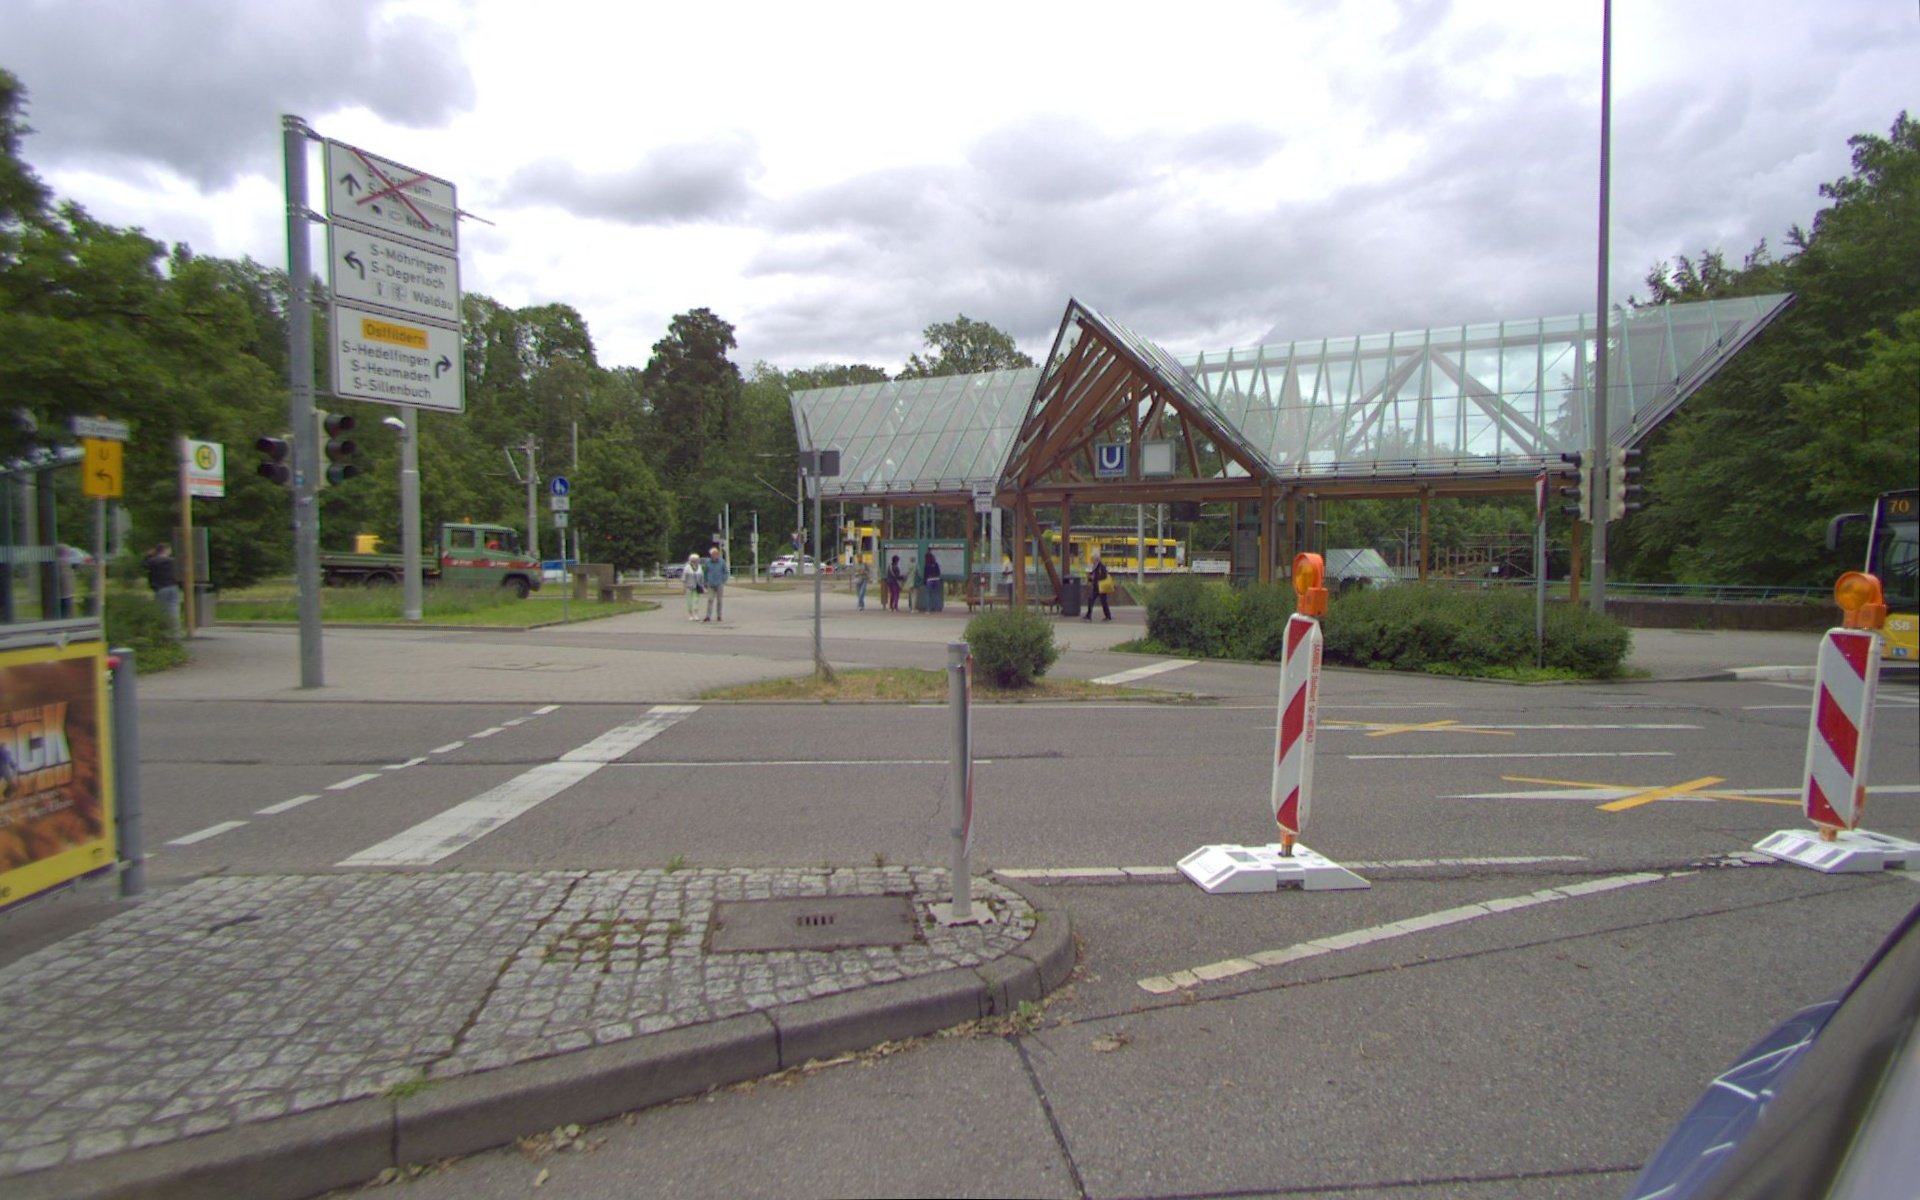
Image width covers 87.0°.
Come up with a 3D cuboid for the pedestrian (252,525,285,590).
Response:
[{"bbox_3d":[-33.382,-2.059,48.889,1.090,3.082,1.029,-1,1,-22],"label":"pedestrian"}]

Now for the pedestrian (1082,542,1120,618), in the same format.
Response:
[{"bbox_3d":[3.389,-0.488,24.314,0.666,1.779,0.646,0,1,43],"label":"pedestrian"}]

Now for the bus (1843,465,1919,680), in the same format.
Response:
[{"bbox_3d":[19.445,-0.382,15.776,10.299,3.198,2.818,0,2,-12],"label":"bus"}]

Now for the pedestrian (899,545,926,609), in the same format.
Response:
[{"bbox_3d":[-1.335,-0.652,28.332,0.587,1.779,0.670,-1,1,-17],"label":"pedestrian"}]

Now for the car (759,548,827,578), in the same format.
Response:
[{"bbox_3d":[-11.627,-2.545,70.639,4.251,2.039,1.998,-1,1,-40],"label":"car"}]

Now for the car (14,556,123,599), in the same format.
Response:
[{"bbox_3d":[-44.031,-1.114,50.111,3.929,2.039,1.998,-1,1,-40],"label":"car"}]

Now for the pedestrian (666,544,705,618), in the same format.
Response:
[{"bbox_3d":[-6.744,-0.466,24.896,0.724,1.779,0.667,0,1,7],"label":"pedestrian"}]

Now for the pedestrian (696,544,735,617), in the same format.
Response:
[{"bbox_3d":[-6.018,-0.481,24.933,0.724,1.779,0.667,0,1,6],"label":"pedestrian"}]

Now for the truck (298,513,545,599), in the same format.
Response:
[{"bbox_3d":[-16.283,-1.310,30.918,6.413,2.381,2.410,-1,1,-29],"label":"truck"}]

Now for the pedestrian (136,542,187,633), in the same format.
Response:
[{"bbox_3d":[-13.665,-0.212,17.329,0.469,1.535,0.524,0,1,-11],"label":"pedestrian"}]

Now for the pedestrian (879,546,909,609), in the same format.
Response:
[{"bbox_3d":[-1.885,-0.649,28.848,0.655,1.779,0.562,-1,1,-30],"label":"pedestrian"}]

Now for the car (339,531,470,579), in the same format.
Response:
[{"bbox_3d":[-30.316,-2.427,55.344,6.039,2.525,1.998,-1,1,-40],"label":"car"}]

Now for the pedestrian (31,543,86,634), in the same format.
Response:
[{"bbox_3d":[-15.331,-0.201,17.221,0.469,1.535,0.524,0,1,-11],"label":"pedestrian"}]

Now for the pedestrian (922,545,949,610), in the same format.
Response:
[{"bbox_3d":[-0.699,-0.633,28.287,0.587,1.779,0.670,-1,1,-17],"label":"pedestrian"}]

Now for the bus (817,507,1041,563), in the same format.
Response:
[{"bbox_3d":[-1.695,-4.506,73.297,18.270,3.526,3.969,-2,2,-44],"label":"bus"}]

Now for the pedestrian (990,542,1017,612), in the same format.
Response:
[{"bbox_3d":[1.127,-0.589,26.057,0.645,1.779,0.667,0,1,8],"label":"pedestrian"}]
